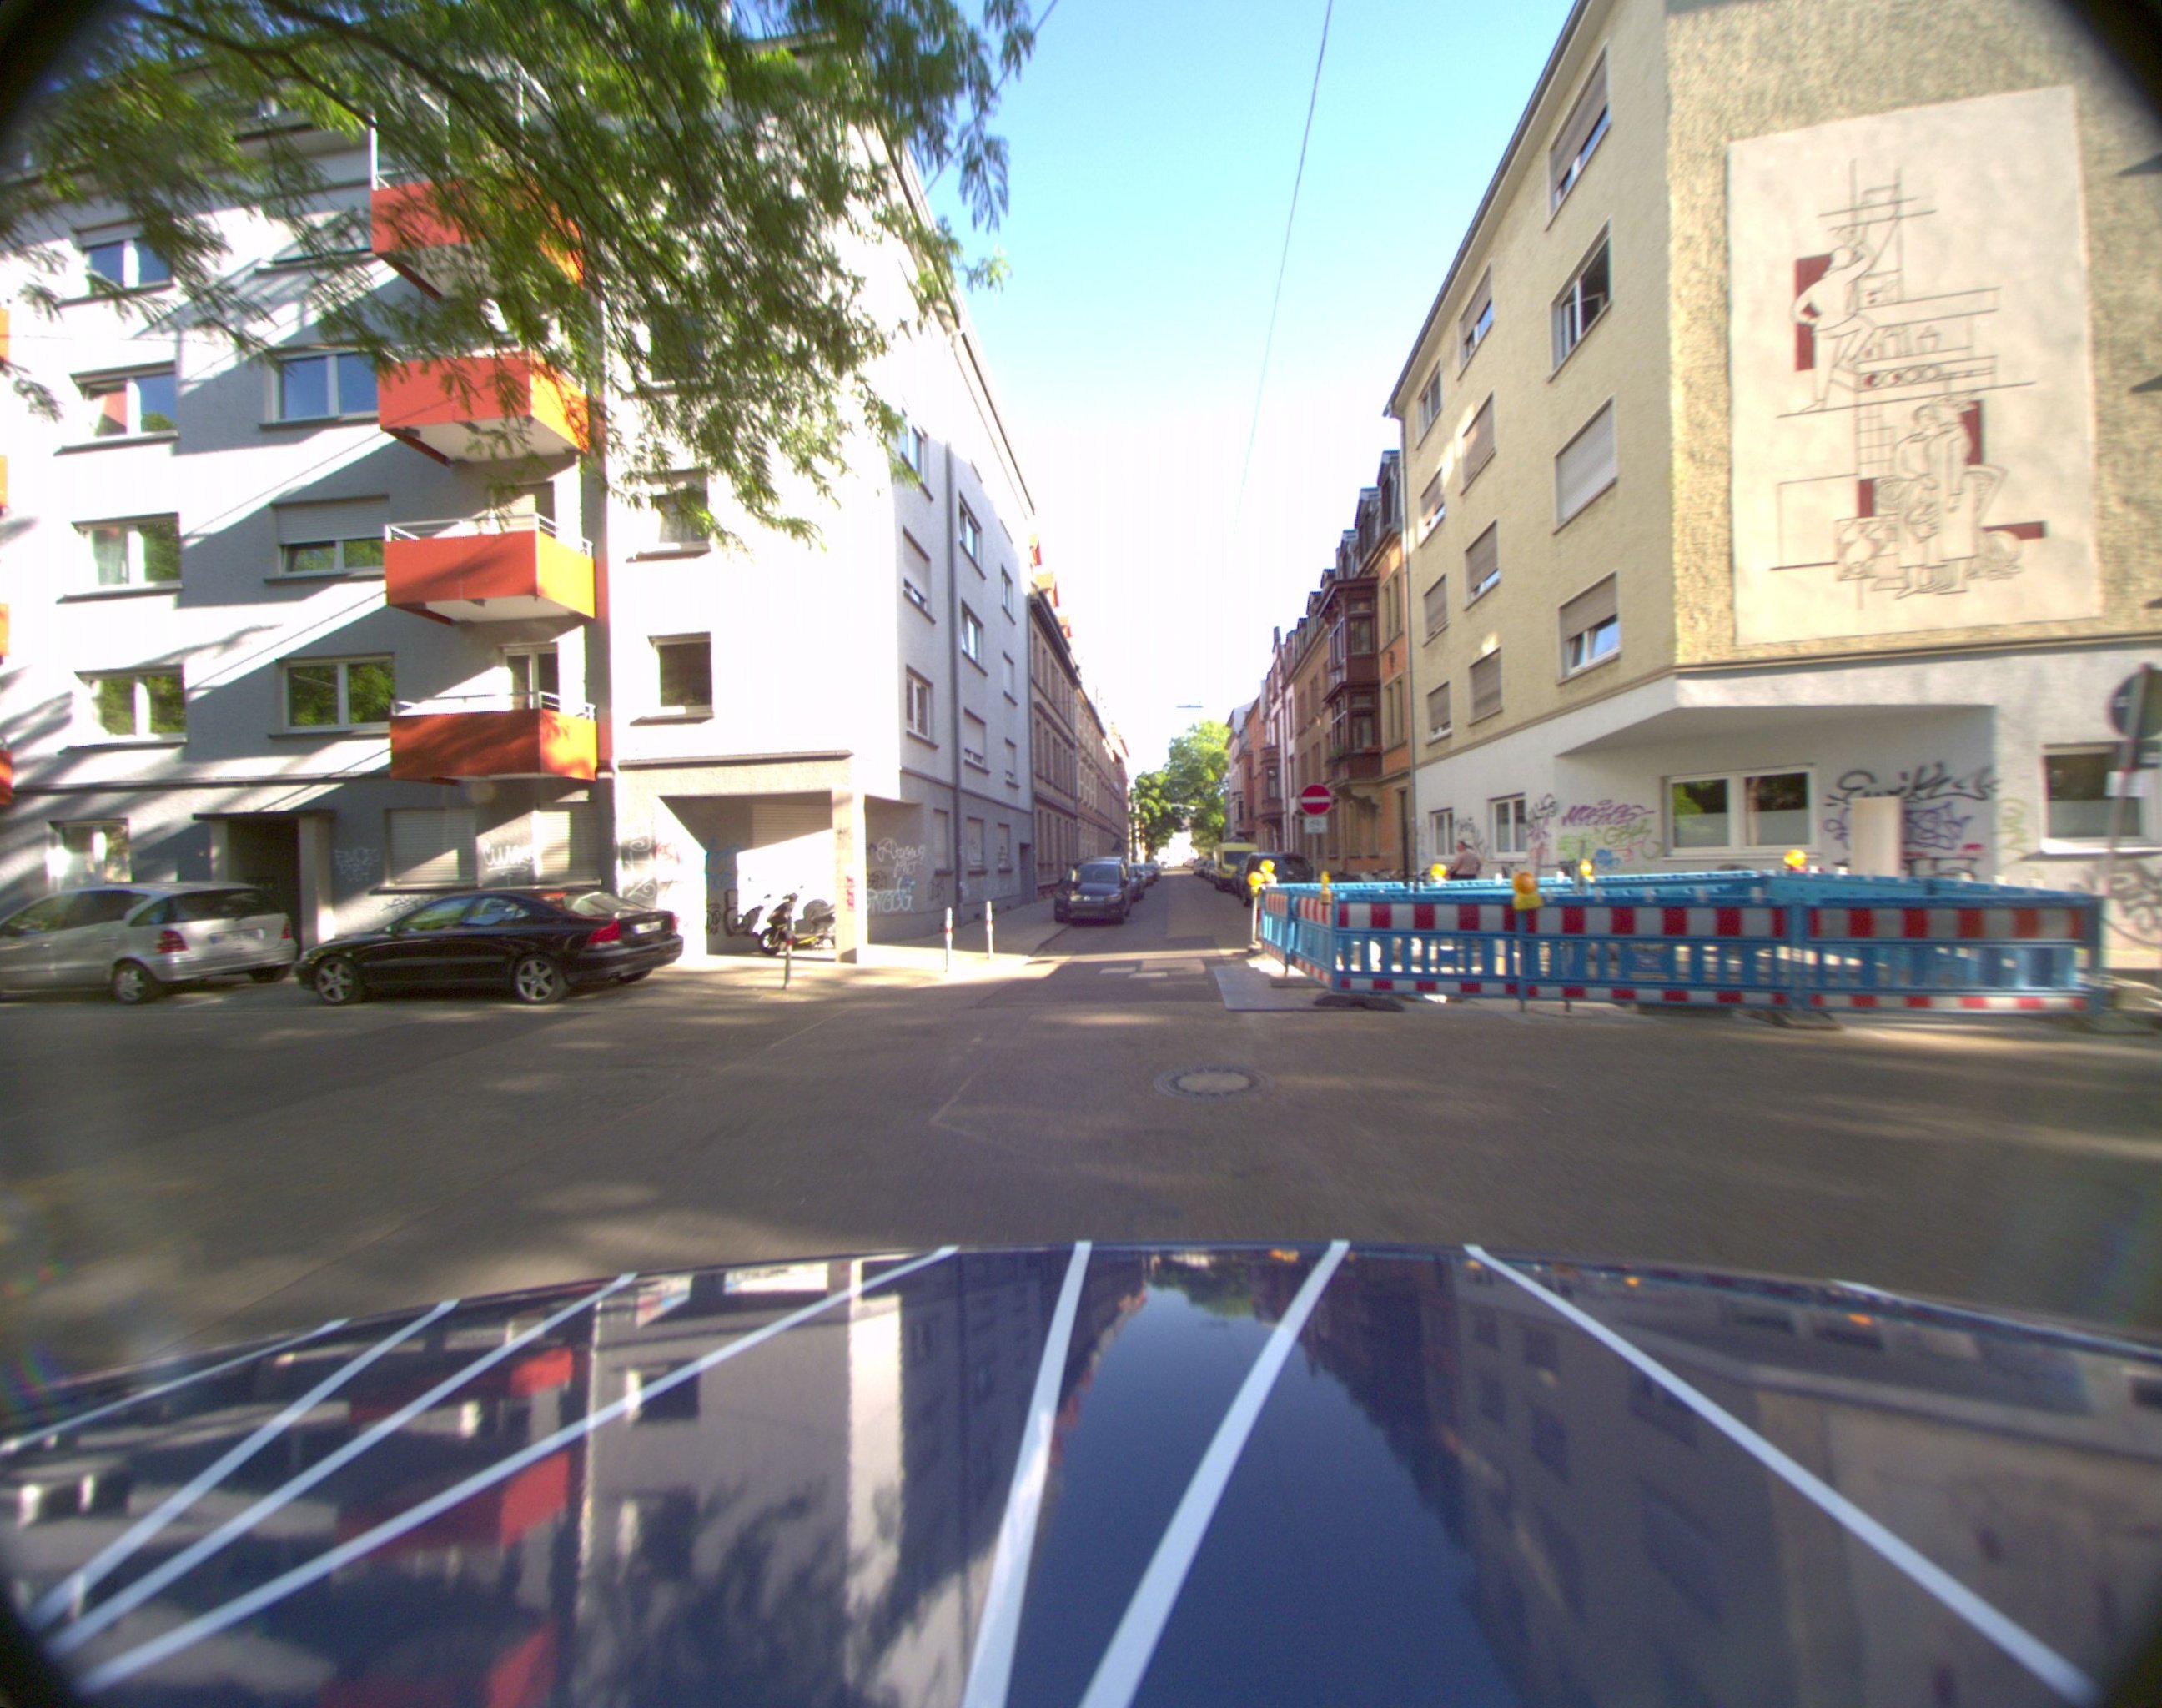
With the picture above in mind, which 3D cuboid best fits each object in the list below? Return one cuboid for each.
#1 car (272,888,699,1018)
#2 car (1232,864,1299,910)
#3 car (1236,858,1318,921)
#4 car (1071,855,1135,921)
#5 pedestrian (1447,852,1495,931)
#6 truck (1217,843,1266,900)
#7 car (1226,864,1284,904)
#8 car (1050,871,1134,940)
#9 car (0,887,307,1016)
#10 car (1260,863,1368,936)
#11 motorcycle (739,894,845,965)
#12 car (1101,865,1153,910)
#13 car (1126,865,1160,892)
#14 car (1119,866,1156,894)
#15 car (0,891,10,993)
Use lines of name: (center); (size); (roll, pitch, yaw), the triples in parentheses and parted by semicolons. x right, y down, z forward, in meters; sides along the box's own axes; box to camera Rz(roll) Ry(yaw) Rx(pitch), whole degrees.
car: (-7.701, 1.255, 10.066); (4.410, 1.423, 1.783); (-2, 0, 6)
car: (6.946, 1.207, 29.004); (1.997, 1.583, 4.002); (-1, 0, 7)
car: (6.293, 1.085, 24.822); (1.804, 1.841, 4.001); (-2, -1, 4)
car: (0.788, 1.110, 26.375); (1.998, 2.052, 4.001); (-1, 0, 3)
pedestrian: (8.025, 0.757, 15.662); (0.670, 1.585, 0.598); (-2, 0, 3)
truck: (8.021, 0.846, 38.445); (1.970, 2.642, 5.888); (0, 0, 7)
car: (7.503, 1.272, 33.125); (1.997, 1.583, 4.002); (-1, 0, 7)
car: (0.405, 1.317, 20.742); (1.844, 1.643, 4.002); (0, 0, 7)
car: (-13.682, 1.343, 10.860); (3.693, 1.550, 1.650); (-1, 2, 6)
car: (5.983, 1.104, 19.979); (1.776, 1.695, 4.001); (-2, -1, 4)
motorcycle: (-5.031, 1.302, 13.305); (1.471, 1.111, 0.908); (-1, 0, 0)
car: (1.869, 1.320, 31.426); (1.998, 1.659, 4.001); (-1, 0, 3)
car: (4.242, 1.638, 51.857); (1.997, 1.659, 4.003); (-1, 0, 9)
car: (3.583, 1.593, 47.676); (1.997, 1.659, 4.003); (-1, 0, 9)
car: (-19.106, 1.463, 11.401); (4.034, 1.608, 1.650); (-1, 2, 6)
